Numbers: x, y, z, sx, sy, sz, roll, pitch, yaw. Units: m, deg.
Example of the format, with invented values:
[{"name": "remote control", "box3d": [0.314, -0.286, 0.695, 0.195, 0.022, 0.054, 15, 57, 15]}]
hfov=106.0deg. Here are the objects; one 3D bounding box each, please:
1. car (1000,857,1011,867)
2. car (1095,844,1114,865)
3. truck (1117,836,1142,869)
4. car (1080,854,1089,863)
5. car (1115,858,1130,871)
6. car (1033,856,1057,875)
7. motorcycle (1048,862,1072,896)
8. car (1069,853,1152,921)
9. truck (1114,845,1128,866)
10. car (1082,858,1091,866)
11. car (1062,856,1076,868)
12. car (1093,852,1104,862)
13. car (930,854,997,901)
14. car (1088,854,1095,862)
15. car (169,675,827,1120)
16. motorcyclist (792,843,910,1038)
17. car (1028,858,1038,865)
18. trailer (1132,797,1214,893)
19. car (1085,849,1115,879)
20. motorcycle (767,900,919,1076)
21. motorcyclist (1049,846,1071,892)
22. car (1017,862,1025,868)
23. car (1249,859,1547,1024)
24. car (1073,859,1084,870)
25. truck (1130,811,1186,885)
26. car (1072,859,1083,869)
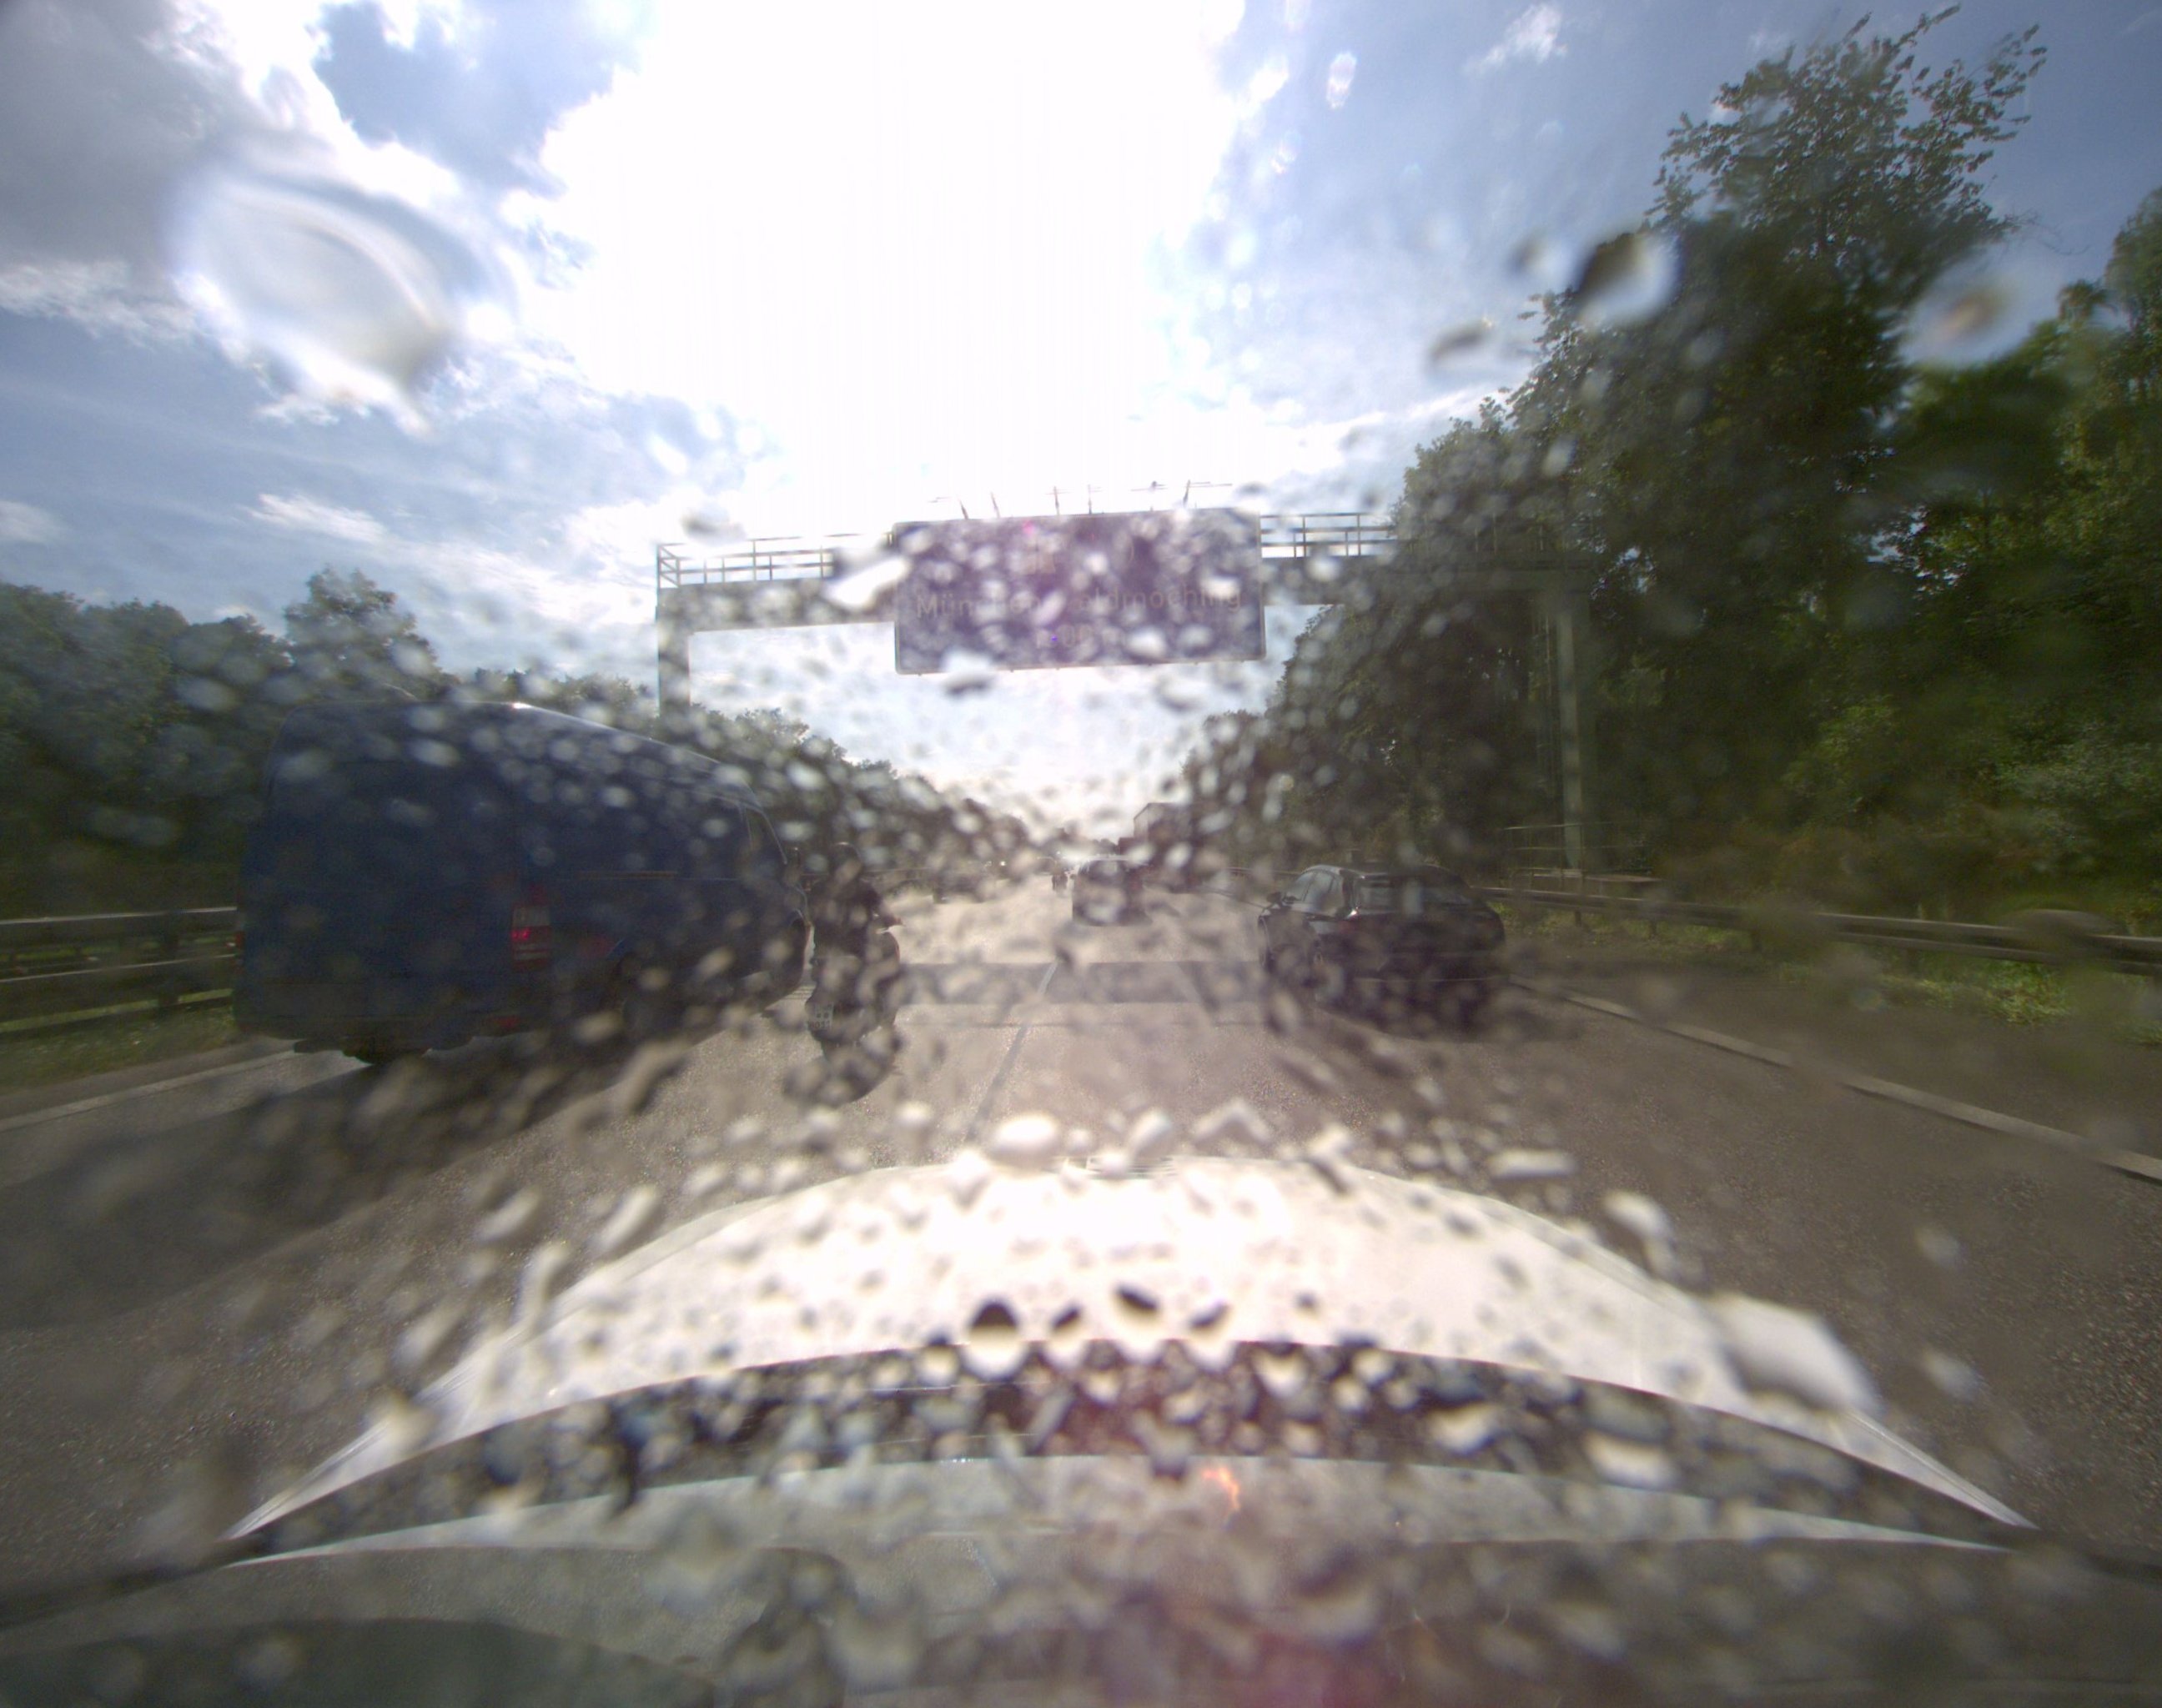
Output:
[{"name": "car", "box3d": [-16.215, 1.679, 174.650, 1.986, 2.013, 4.001, 0, 0, 1]}, {"name": "car", "box3d": [2.211, 0.069, 76.161, 1.669, 1.936, 3.774, -1, 0, 1]}, {"name": "truck", "box3d": [6.710, -0.150, 113.547, 3.190, 4.404, 9.436, -1, 0, 2]}, {"name": "car", "box3d": [0.744, 0.986, 182.917, 1.986, 2.014, 4.001, -1, -1, 1]}, {"name": "car", "box3d": [4.877, 1.174, 95.667, 1.669, 1.490, 3.437, -1, 0, 1]}, {"name": "car", "box3d": [-3.251, 1.032, 74.407, 1.886, 1.628, 4.196, -1, 0, 1]}, {"name": "motorcycle", "box3d": [-0.824, 0.977, 32.394, 0.817, 1.263, 2.118, -1, 0, 1]}, {"name": "car", "box3d": [0.729, 0.788, 21.150, 1.908, 1.565, 4.315, -1, 0, 1]}, {"name": "truck", "box3d": [8.909, 0.383, 183.270, 2.871, 4.688, 12.662, -1, -1, 2]}, {"name": "car", "box3d": [1.385, 2.062, 205.397, 1.986, 2.014, 4.001, -1, -1, 1]}, {"name": "car", "box3d": [-1.569, 1.018, 106.304, 1.669, 1.597, 3.437, -1, 0, 1]}, {"name": "car", "box3d": [2.618, 0.458, 123.527, 1.626, 1.490, 3.437, -1, 0, 1]}, {"name": "car", "box3d": [-4.335, 0.807, 30.644, 1.752, 1.594, 4.332, -1, 0, 1]}, {"name": "car", "box3d": [2.879, 1.116, 222.551, 1.986, 2.014, 4.001, -1, -1, 1]}, {"name": "car", "box3d": [-4.421, 0.265, 7.797, 2.008, 2.648, 5.778, -1, 0, 1]}, {"name": "motorcyclist", "box3d": [-1.821, 0.650, 6.578, 0.669, 1.442, 1.019, -1, -1, -2]}, {"name": "car", "box3d": [-11.345, 1.842, 192.328, 1.915, 1.580, 4.001, -2, 0, 1]}, {"name": "trailer", "box3d": [4.598, -0.369, 43.978, 3.077, 4.312, 14.108, -1, 0, 1]}, {"name": "car", "box3d": [1.314, 0.711, 56.644, 1.986, 2.014, 4.000, -1, -1, 1]}, {"name": "motorcycle", "box3d": [-1.819, 0.963, 6.531, 0.674, 1.087, 1.980, 0, 0, -1]}, {"name": "motorcyclist", "box3d": [-0.828, 0.583, 32.354, 0.818, 1.761, 1.390, -1, -1, 1]}, {"name": "car", "box3d": [-15.223, 2.739, 208.423, 1.625, 1.482, 3.787, -1, 0, 2]}, {"name": "car", "box3d": [3.198, 0.777, 9.250, 1.748, 1.396, 4.369, -1, 0, 1]}, {"name": "car", "box3d": [-0.507, 2.109, 161.921, 1.986, 2.014, 4.001, -1, -1, 1]}, {"name": "truck", "box3d": [4.746, -0.338, 51.181, 3.041, 4.325, 5.887, -1, 0, 1]}, {"name": "car", "box3d": [-0.603, 1.661, 135.893, 1.669, 1.490, 3.437, -1, 0, 1]}]
